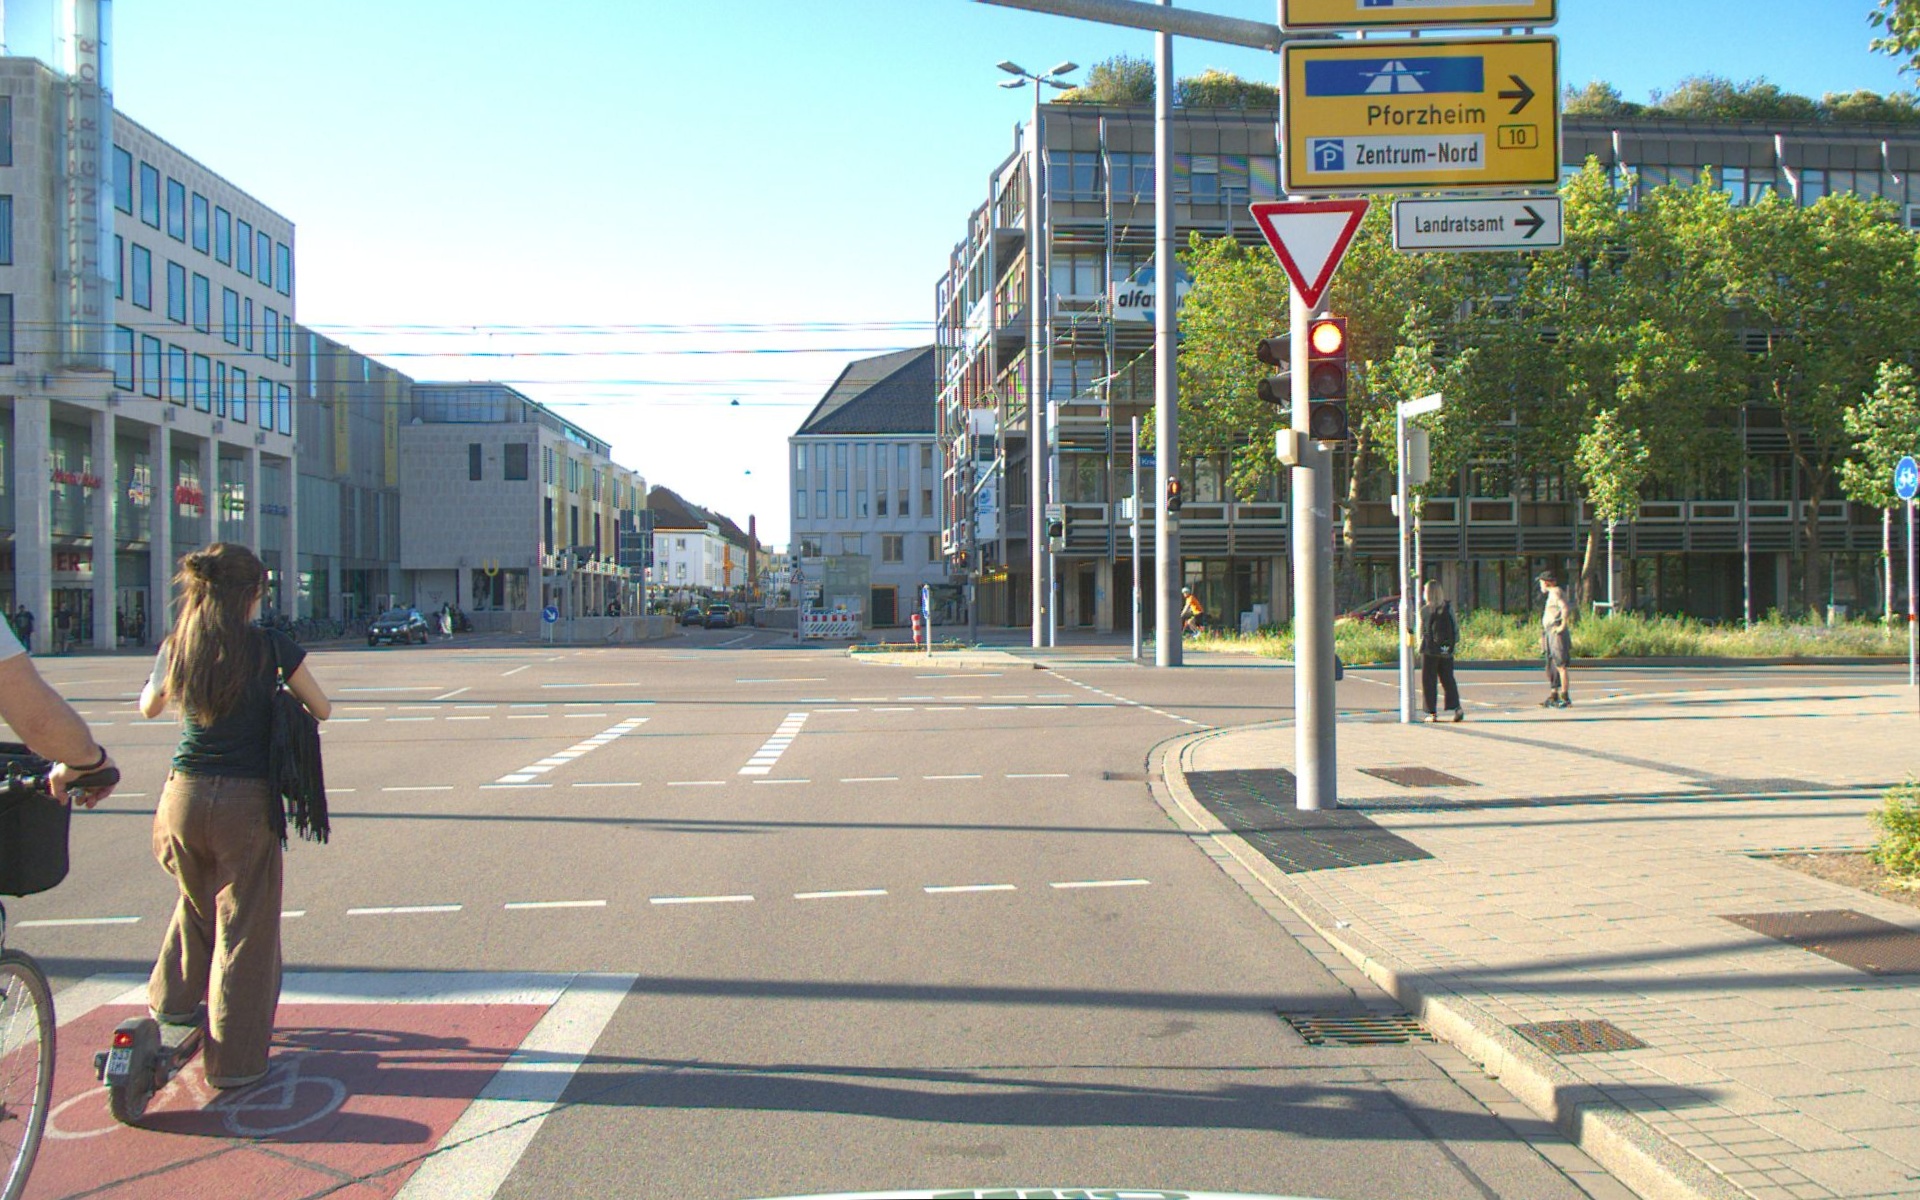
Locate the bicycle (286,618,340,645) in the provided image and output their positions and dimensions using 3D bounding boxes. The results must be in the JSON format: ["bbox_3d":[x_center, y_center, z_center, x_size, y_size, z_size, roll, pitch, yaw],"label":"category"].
[{"bbox_3d":[-30.059,1.449,76.842,2.260,1.244,0.611,0,0,-3],"label":"bicycle"}]

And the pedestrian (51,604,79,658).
[{"bbox_3d":[-31.167,1.070,57.597,0.788,1.876,0.854,0,0,-33],"label":"pedestrian"}]

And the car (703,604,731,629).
[{"bbox_3d":[-15.817,1.055,107.939,1.705,1.558,3.849,1,0,-8],"label":"car"}]

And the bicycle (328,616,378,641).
[{"bbox_3d":[-30.921,1.466,84.261,2.260,1.244,0.611,0,0,-3],"label":"bicycle"}]

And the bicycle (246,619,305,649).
[{"bbox_3d":[-29.285,1.436,70.750,2.260,1.244,0.611,0,0,-3],"label":"bicycle"}]

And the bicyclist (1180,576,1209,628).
[{"bbox_3d":[6.689,0.064,47.246,0.698,1.462,0.496,1,-1,-10],"label":"bicyclist"}]

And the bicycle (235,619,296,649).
[{"bbox_3d":[-29.121,1.433,69.396,2.260,1.244,0.611,0,0,-3],"label":"bicycle"}]

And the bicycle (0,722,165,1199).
[{"bbox_3d":[-2.081,0.869,2.918,0.475,1.176,1.831,1,0,-1],"label":"bicycle"}]

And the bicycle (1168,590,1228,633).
[{"bbox_3d":[6.813,0.328,47.267,1.615,1.175,0.496,1,-1,-10],"label":"bicycle"}]

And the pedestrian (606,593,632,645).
[{"bbox_3d":[-12.784,0.711,62.008,0.628,1.923,0.791,1,-1,14],"label":"pedestrian"}]

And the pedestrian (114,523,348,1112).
[{"bbox_3d":[-2.187,0.617,5.019,0.540,1.661,0.569,1,-1,-16],"label":"pedestrian"}]

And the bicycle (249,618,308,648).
[{"bbox_3d":[-29.499,1.436,71.627,2.260,1.244,0.611,0,0,-3],"label":"bicycle"}]

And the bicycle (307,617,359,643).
[{"bbox_3d":[-30.328,1.458,80.045,2.260,1.244,0.611,0,0,-3],"label":"bicycle"}]

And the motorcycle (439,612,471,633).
[{"bbox_3d":[-29.754,1.326,97.469,1.775,1.228,0.509,1,0,-16],"label":"motorcycle"}]

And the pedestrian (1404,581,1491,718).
[{"bbox_3d":[5.517,0.550,18.740,0.772,1.518,0.644,1,-1,-1],"label":"pedestrian"}]

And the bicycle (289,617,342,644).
[{"bbox_3d":[-30.708,1.446,78.812,2.260,1.244,0.611,0,0,-3],"label":"bicycle"}]

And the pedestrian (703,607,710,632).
[{"bbox_3d":[-17.893,1.359,116.743,0.511,1.709,0.582,1,0,-8],"label":"pedestrian"}]

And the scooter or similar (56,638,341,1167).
[{"bbox_3d":[-2.177,0.785,4.852,0.538,1.316,1.189,1,0,-15],"label":"scooter or similar"}]

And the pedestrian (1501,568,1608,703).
[{"bbox_3d":[7.632,0.449,21.263,0.866,1.694,0.958,1,-1,-22],"label":"pedestrian"}]

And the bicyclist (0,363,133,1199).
[{"bbox_3d":[-1.977,0.465,2.844,0.647,1.750,0.865,1,-1,-1],"label":"bicyclist"}]

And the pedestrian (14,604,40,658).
[{"bbox_3d":[-32.858,1.078,58.257,0.787,1.876,0.856,0,0,-29],"label":"pedestrian"}]

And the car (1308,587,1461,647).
[{"bbox_3d":[11.863,0.461,46.315,3.812,1.613,1.656,-1,0,-8],"label":"car"}]

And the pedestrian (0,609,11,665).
[{"bbox_3d":[-33.074,1.277,56.882,0.706,1.918,0.780,1,-1,-28],"label":"pedestrian"}]

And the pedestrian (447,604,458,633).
[{"bbox_3d":[-30.091,1.072,98.072,0.512,1.709,0.581,1,0,-14],"label":"pedestrian"}]

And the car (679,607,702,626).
[{"bbox_3d":[-21.988,1.368,135.016,1.751,1.477,3.993,1,0,-7],"label":"car"}]

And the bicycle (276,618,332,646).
[{"bbox_3d":[-29.598,1.447,74.691,2.260,1.244,0.611,0,0,-3],"label":"bicycle"}]

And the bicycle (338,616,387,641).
[{"bbox_3d":[-30.809,1.472,85.332,2.260,1.244,0.611,0,0,-3],"label":"bicycle"}]

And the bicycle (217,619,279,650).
[{"bbox_3d":[-29.328,1.424,68.110,2.260,1.244,0.611,0,0,-3],"label":"bicycle"}]

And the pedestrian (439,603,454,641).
[{"bbox_3d":[-23.894,1.010,76.964,0.639,1.749,0.447,0,0,-25],"label":"pedestrian"}]

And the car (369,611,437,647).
[{"bbox_3d":[-23.373,1.206,69.477,1.597,1.365,3.998,-3,0,-3],"label":"car"}]

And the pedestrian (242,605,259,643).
[{"bbox_3d":[-32.216,1.068,75.107,0.544,1.709,0.606,1,0,-11],"label":"pedestrian"}]

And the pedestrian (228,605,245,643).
[{"bbox_3d":[-32.754,1.087,74.879,0.560,1.709,0.614,1,0,-10],"label":"pedestrian"}]
